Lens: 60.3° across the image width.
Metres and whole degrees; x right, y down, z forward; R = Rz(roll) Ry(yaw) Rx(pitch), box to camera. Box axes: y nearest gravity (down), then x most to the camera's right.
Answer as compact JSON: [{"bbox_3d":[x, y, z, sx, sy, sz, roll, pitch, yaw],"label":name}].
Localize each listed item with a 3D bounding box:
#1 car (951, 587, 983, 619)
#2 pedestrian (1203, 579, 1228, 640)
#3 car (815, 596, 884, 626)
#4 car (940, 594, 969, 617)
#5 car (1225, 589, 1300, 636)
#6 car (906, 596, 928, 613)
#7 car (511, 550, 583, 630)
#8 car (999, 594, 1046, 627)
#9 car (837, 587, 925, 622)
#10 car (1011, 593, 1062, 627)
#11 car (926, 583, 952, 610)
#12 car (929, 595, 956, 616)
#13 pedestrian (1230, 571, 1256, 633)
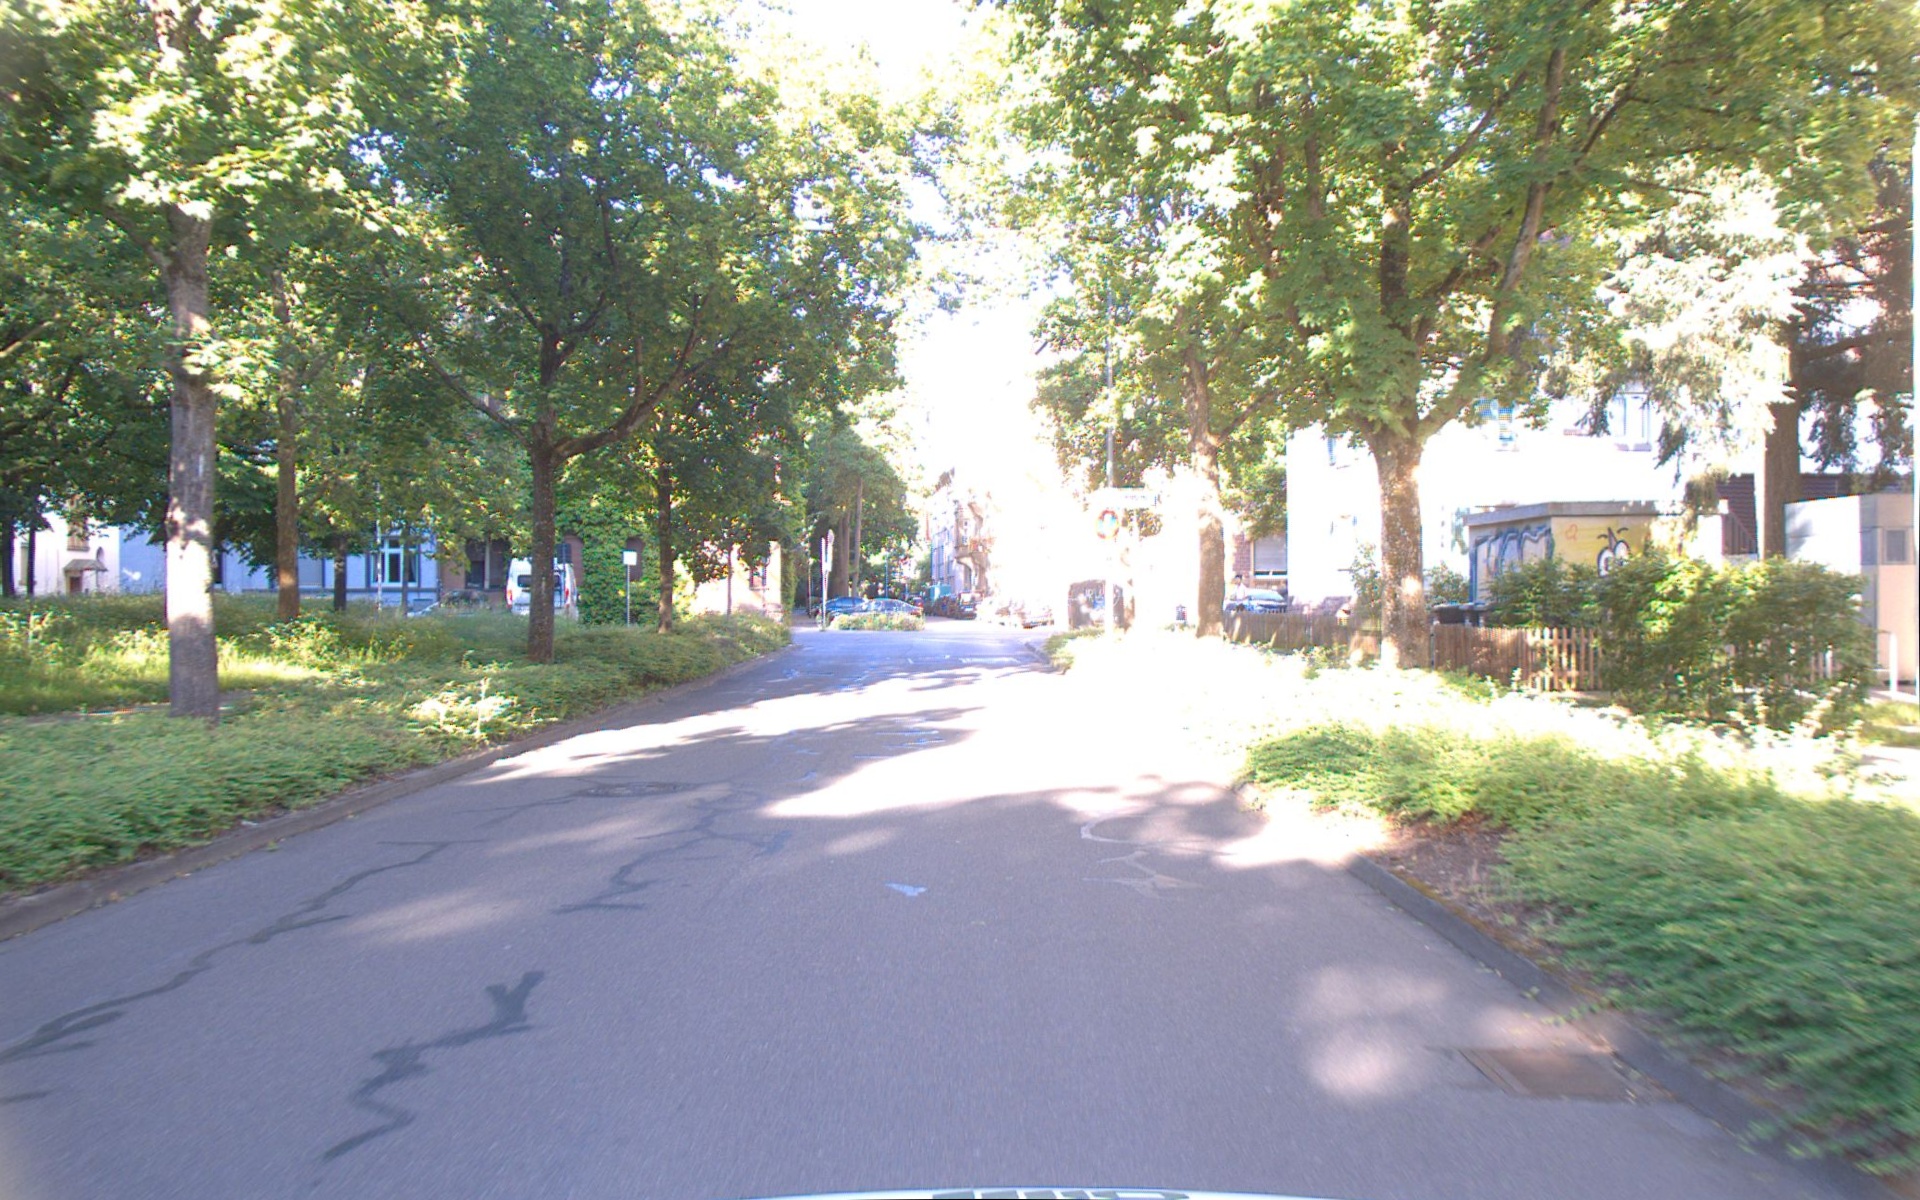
[{"bbox_3d":[0.440,0.186,107.634,1.775,1.959,3.997,1,0,-4],"label":"car"},{"bbox_3d":[8.017,0.297,51.896,0.604,1.903,0.694,1,0,-8],"label":"pedestrian"},{"bbox_3d":[-5.899,0.595,88.143,3.520,1.537,1.497,1,0,-8],"label":"car"},{"bbox_3d":[-0.418,0.393,115.808,1.775,1.527,3.997,1,0,-4],"label":"car"},{"bbox_3d":[10.776,0.443,59.182,1.953,1.613,3.639,1,0,-1],"label":"car"},{"bbox_3d":[-3.885,0.404,149.489,1.775,1.527,3.997,1,0,-4],"label":"car"},{"bbox_3d":[-13.801,-0.312,55.431,1.957,2.552,3.992,1,0,-9],"label":"car"},{"bbox_3d":[3.184,0.532,85.281,1.955,1.601,3.996,1,0,-5],"label":"car"},{"bbox_3d":[-3.696,0.207,76.945,3.912,1.527,1.814,1,0,-8],"label":"car"},{"bbox_3d":[3.626,0.461,79.046,1.777,1.527,3.993,-1,0,-8],"label":"car"},{"bbox_3d":[-1.699,-0.254,132.465,1.775,2.086,3.997,1,0,-4],"label":"car"},{"bbox_3d":[-1.291,0.398,122.432,1.775,1.527,3.997,1,0,-4],"label":"car"},{"bbox_3d":[8.843,0.071,51.659,0.604,1.903,0.694,1,0,-8],"label":"pedestrian"}]
